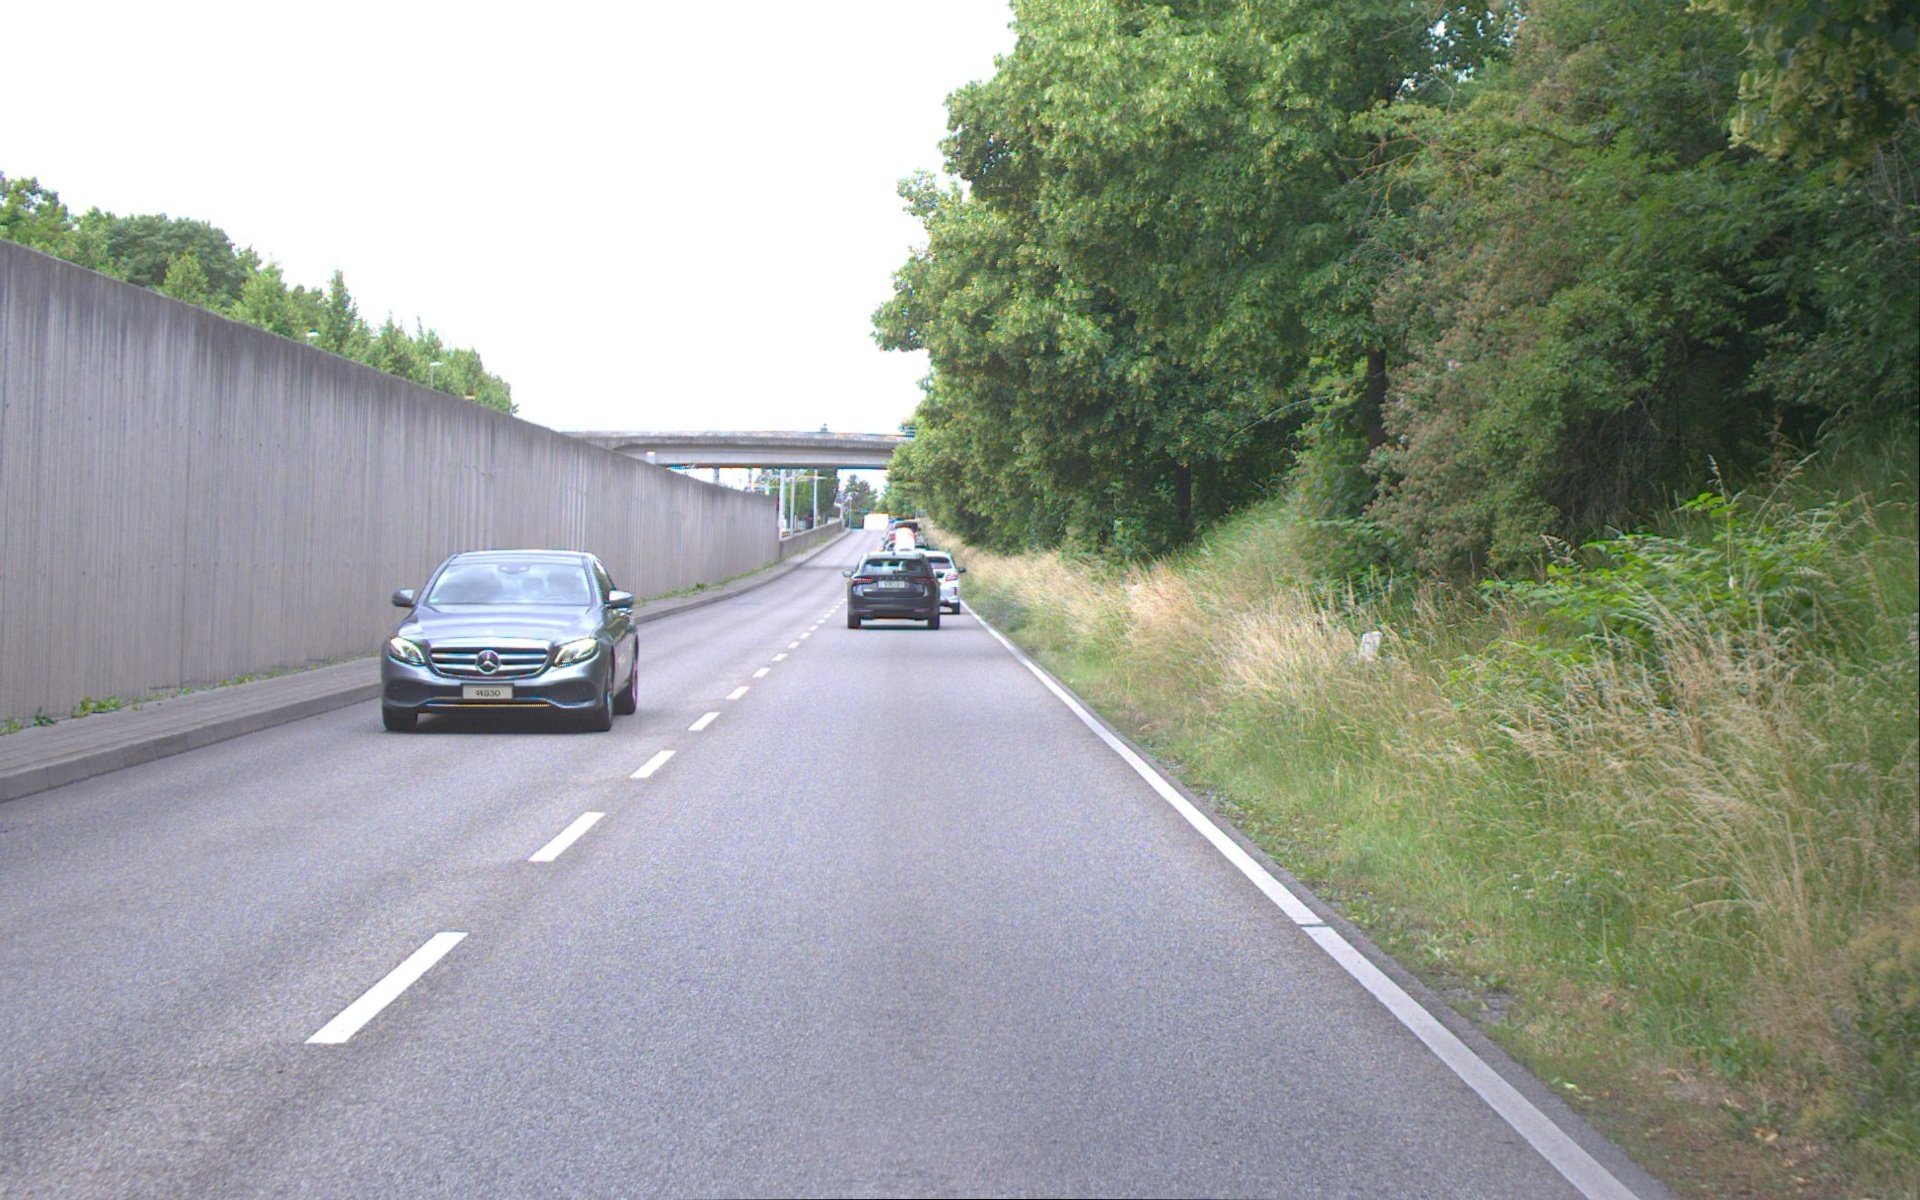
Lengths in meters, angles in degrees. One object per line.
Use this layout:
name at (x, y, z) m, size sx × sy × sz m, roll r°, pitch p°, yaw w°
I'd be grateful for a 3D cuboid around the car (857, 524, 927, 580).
car at (-2.009, -1.408, 100.488) m, size 1.866 × 1.485 × 4.257 m, roll 4°, pitch 1°, yaw -3°

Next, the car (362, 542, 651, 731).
car at (-3.789, 0.248, 29.479) m, size 1.892 × 1.478 × 4.823 m, roll 0°, pitch 1°, yaw -1°

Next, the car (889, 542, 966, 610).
car at (-0.771, -0.548, 82.012) m, size 1.754 × 1.518 × 4.036 m, roll -2°, pitch -1°, yaw 0°

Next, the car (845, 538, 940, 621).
car at (-1.289, -0.363, 66.006) m, size 1.754 × 1.518 × 4.036 m, roll 0°, pitch -1°, yaw -1°
